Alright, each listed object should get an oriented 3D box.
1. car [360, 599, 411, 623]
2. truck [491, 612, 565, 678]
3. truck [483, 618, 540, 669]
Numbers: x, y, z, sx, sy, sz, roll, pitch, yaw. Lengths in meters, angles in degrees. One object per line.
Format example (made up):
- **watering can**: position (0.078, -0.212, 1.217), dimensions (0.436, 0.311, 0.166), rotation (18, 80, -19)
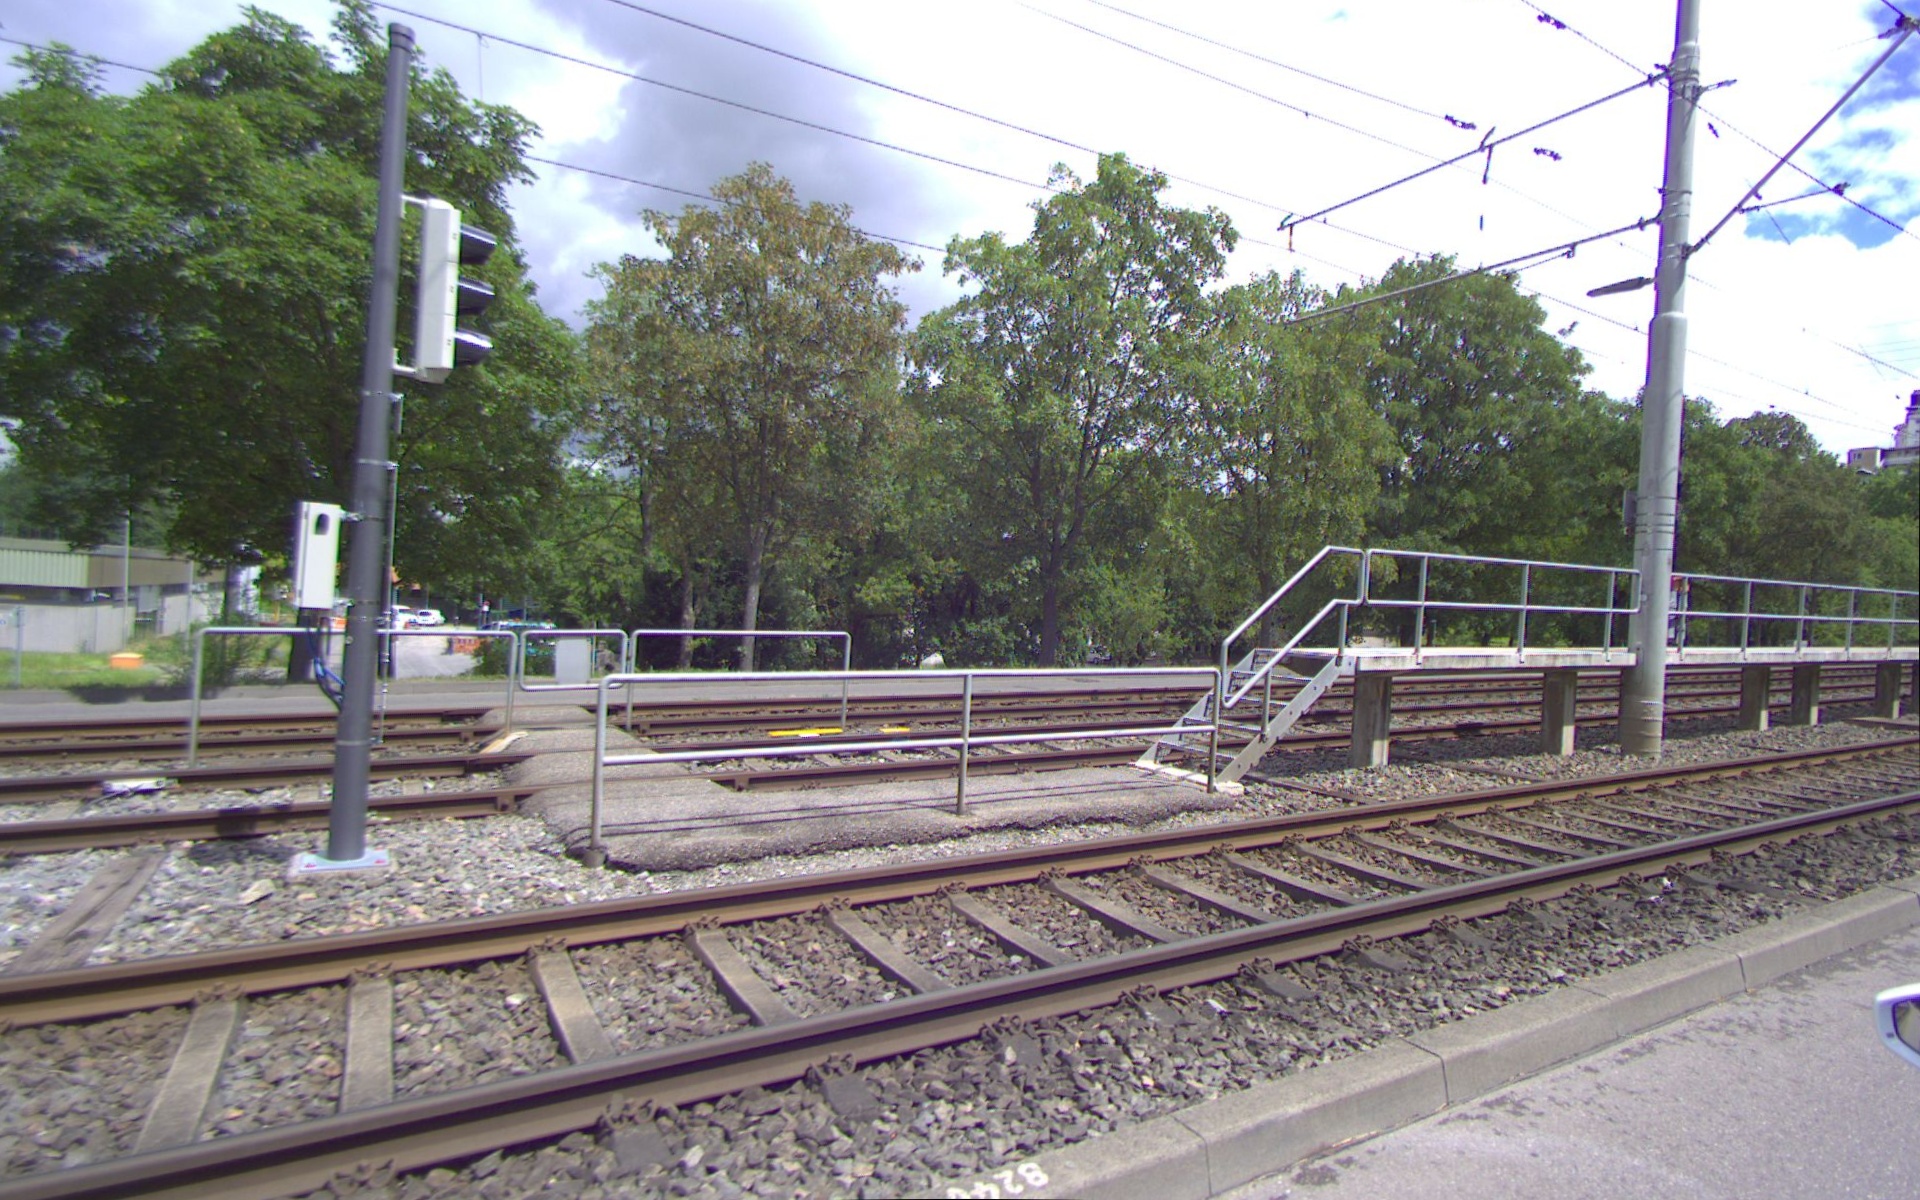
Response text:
- **car**: position (-51.355, 0.982, 89.854), dimensions (3.953, 2.040, 1.984), rotation (2, 0, -30)
- **truck**: position (-20.575, 2.091, 47.630), dimensions (2.646, 2.893, 6.576), rotation (1, -2, -28)
- **truck**: position (-27.454, 2.620, 61.356), dimensions (2.646, 2.893, 6.576), rotation (1, -2, -28)
